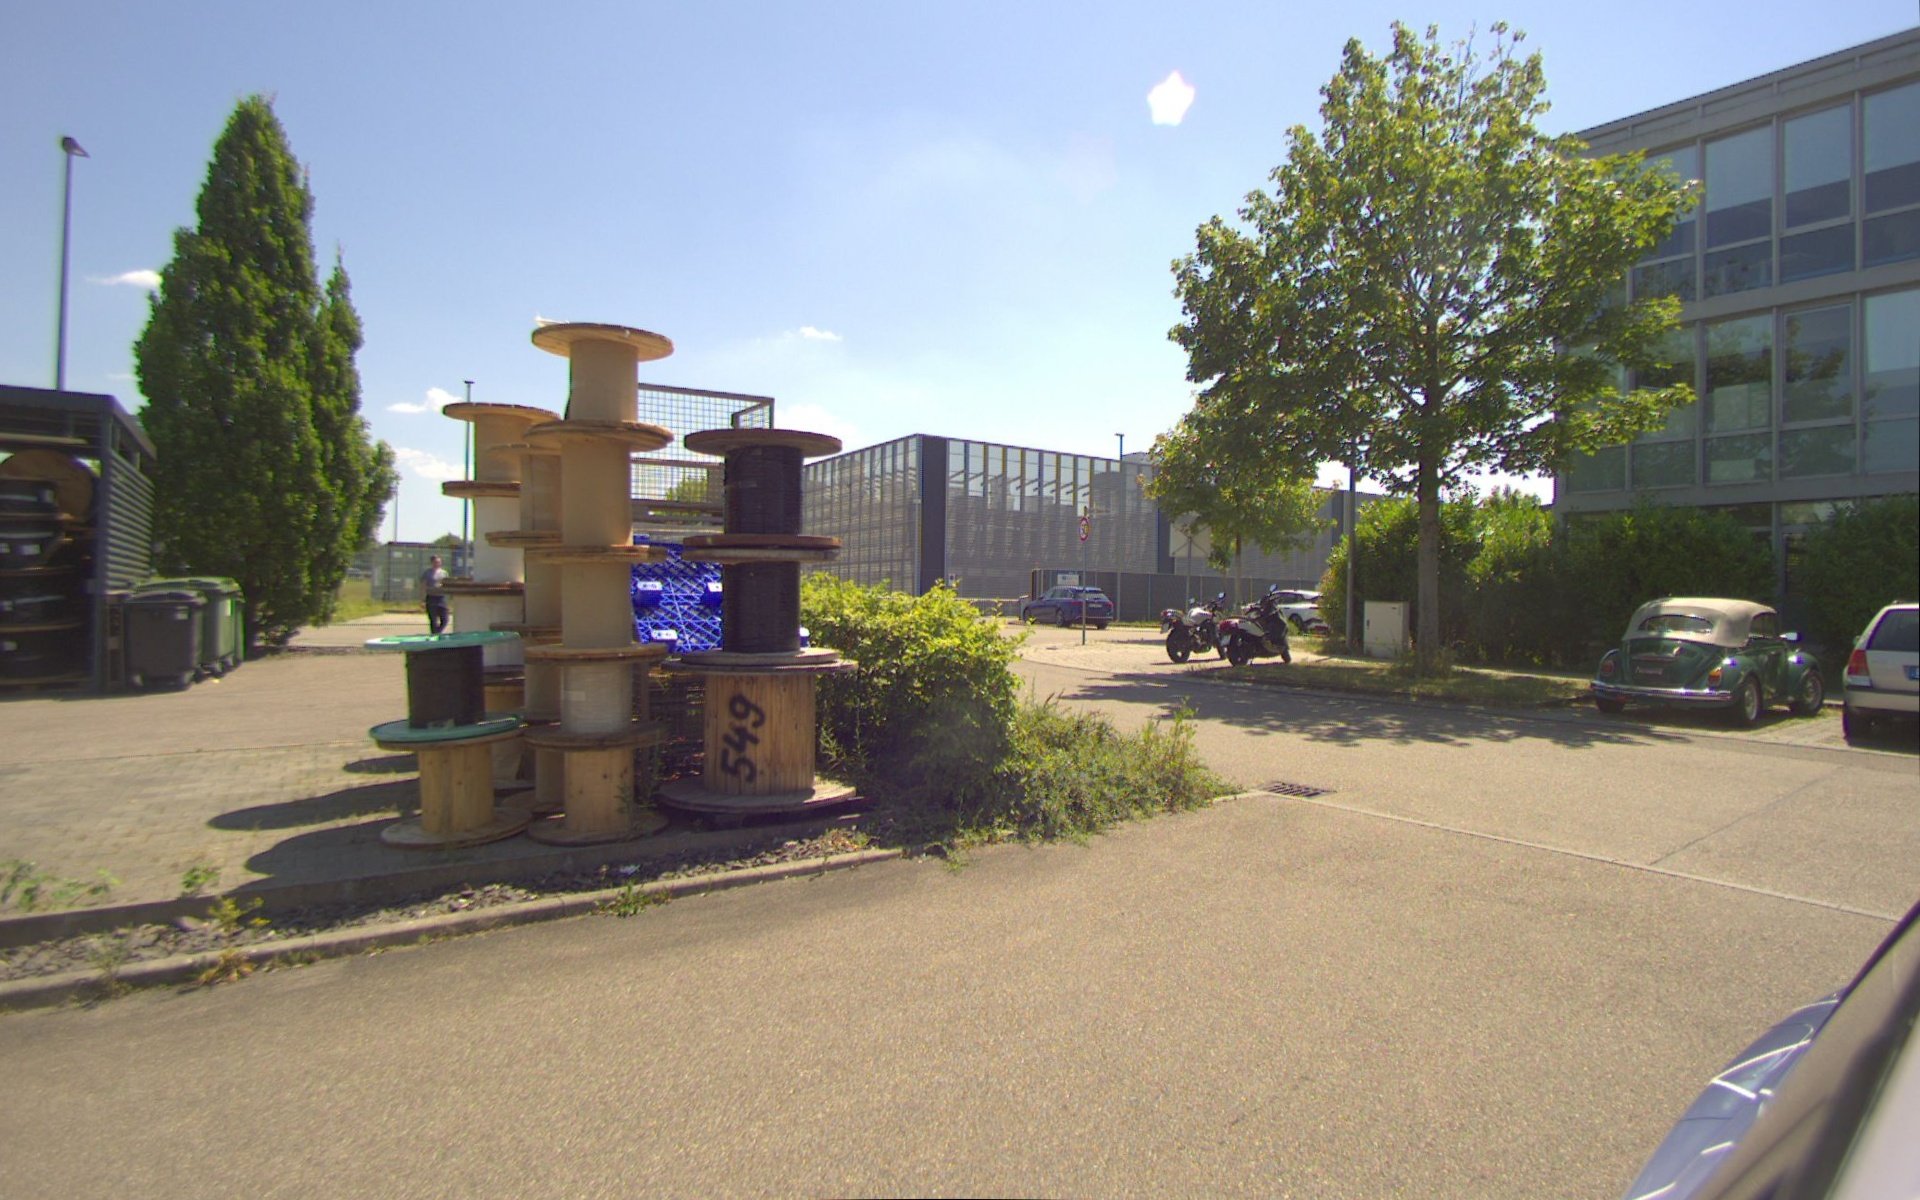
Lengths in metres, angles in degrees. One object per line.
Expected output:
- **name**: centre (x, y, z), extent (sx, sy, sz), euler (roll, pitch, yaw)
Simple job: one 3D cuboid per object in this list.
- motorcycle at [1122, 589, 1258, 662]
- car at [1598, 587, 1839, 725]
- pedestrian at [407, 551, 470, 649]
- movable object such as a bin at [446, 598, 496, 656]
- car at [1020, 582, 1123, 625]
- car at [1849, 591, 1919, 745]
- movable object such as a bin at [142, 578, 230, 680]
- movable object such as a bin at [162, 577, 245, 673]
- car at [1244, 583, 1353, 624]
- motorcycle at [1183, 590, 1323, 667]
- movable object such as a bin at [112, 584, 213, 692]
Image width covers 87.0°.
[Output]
- **motorcycle**: centre (4.374, 0.445, 19.135), extent (2.782, 1.275, 0.874), euler (0, 1, -36)
- **car**: centre (9.522, 0.593, 12.640), extent (3.356, 1.463, 1.522), euler (0, 2, -37)
- **pedestrian**: centre (-9.762, -0.011, 18.980), extent (0.793, 1.791, 0.769), euler (1, 1, -3)
- **movable object such as a bin**: centre (-8.222, 0.437, 17.013), extent (0.581, 0.929, 0.541), euler (1, 1, 32)
- **car**: centre (3.893, 0.102, 36.198), extent (1.820, 1.427, 4.456), euler (1, 1, -20)
- **car**: centre (10.934, 0.677, 10.831), extent (3.538, 1.470, 1.641), euler (-1, 2, -41)
- **movable object such as a bin**: centre (-10.407, 0.365, 13.642), extent (0.785, 1.314, 0.757), euler (0, 1, -25)
- **movable object such as a bin**: centre (-10.762, 0.335, 14.429), extent (0.785, 1.314, 0.811), euler (0, 1, -25)
- **car**: centre (13.051, 0.107, 39.351), extent (1.743, 1.494, 4.424), euler (1, 1, -18)
- **motorcycle**: centre (5.280, 0.465, 18.143), extent (2.782, 1.275, 0.874), euler (0, 1, -36)
- **movable object such as a bin**: centre (-9.823, 0.437, 12.497), extent (0.785, 1.265, 0.878), euler (0, 1, -25)
